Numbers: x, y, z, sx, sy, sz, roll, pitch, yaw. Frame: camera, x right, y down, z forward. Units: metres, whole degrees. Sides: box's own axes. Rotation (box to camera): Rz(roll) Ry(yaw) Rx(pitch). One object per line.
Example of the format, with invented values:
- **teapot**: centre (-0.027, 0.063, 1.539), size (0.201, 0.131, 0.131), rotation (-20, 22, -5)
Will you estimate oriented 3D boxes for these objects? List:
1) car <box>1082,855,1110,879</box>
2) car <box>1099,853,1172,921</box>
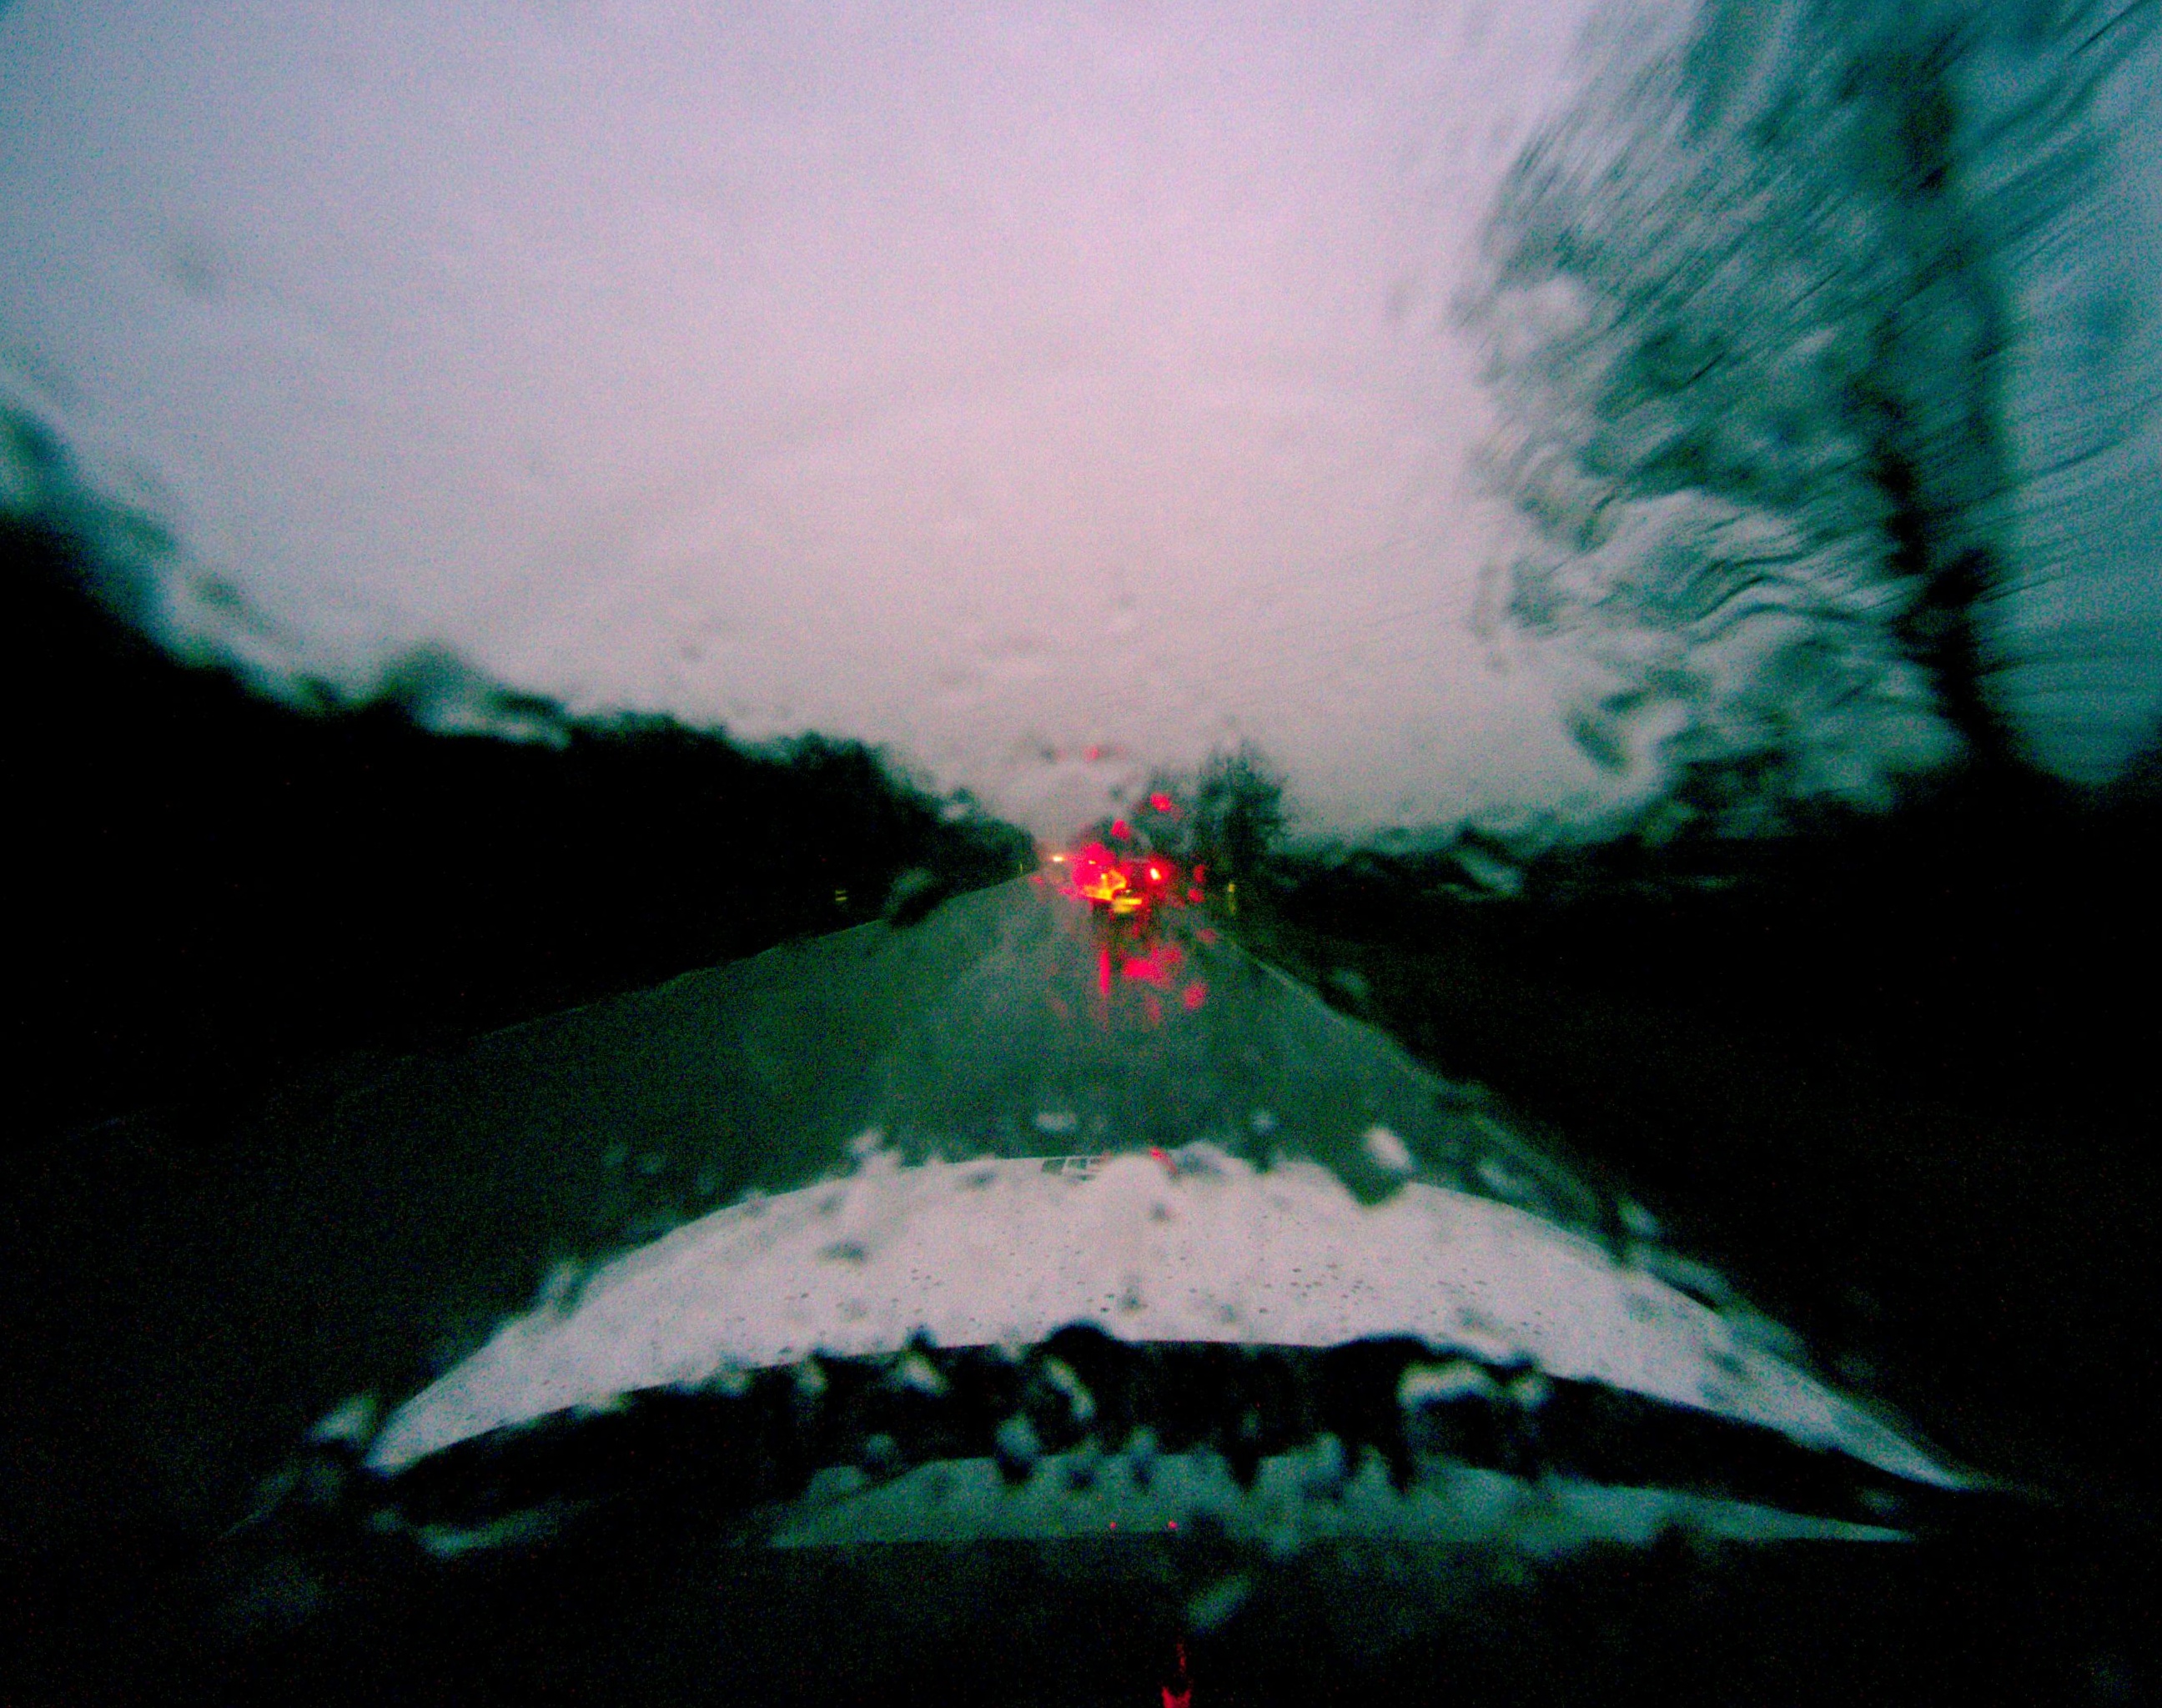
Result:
- **car**: centre (0.913, 0.749, 48.467), size (1.541, 1.396, 3.871), rotation (-1, 0, 2)
- **car**: centre (1.316, 0.735, 20.105), size (1.596, 1.522, 3.872), rotation (-1, 0, 3)
